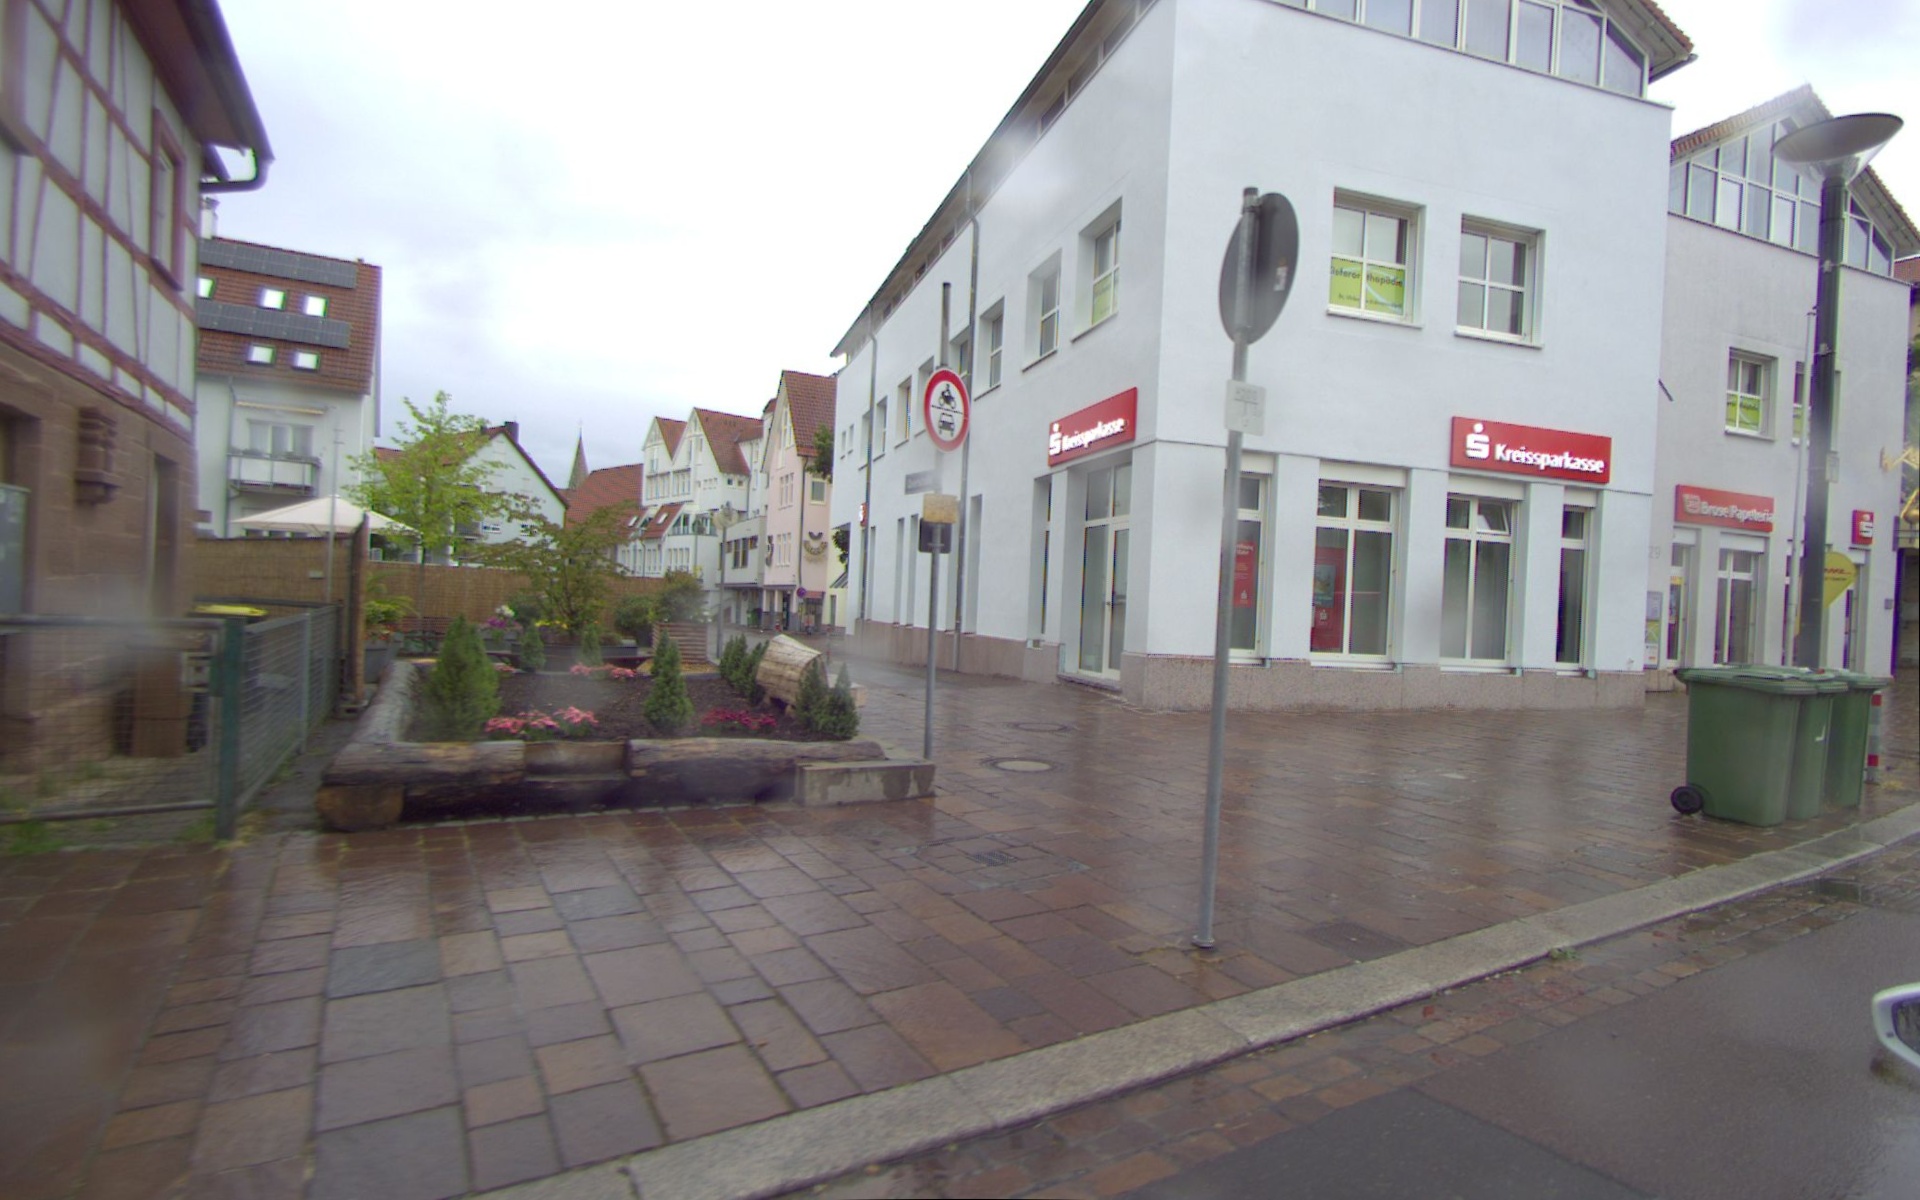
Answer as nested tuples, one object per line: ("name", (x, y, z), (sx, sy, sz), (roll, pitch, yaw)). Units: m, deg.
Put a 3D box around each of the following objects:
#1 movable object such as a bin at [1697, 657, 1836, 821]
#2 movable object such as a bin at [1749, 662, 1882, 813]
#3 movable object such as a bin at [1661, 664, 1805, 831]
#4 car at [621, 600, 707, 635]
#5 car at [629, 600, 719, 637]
("movable object such as a bin", (6.095, 1.018, 7.607), (0.546, 1.129, 0.655), (2, 0, -30))
("movable object such as a bin", (6.925, 1.079, 8.137), (0.606, 1.110, 0.655), (2, 0, -32))
("movable object such as a bin", (5.606, 1.036, 7.299), (0.546, 1.097, 0.655), (2, 0, -30))
("car", (-13.051, 0.761, 44.266), (3.486, 1.439, 1.604), (2, 0, -23))
("car", (-12.005, 0.783, 42.165), (3.486, 1.439, 1.604), (2, 0, -23))
